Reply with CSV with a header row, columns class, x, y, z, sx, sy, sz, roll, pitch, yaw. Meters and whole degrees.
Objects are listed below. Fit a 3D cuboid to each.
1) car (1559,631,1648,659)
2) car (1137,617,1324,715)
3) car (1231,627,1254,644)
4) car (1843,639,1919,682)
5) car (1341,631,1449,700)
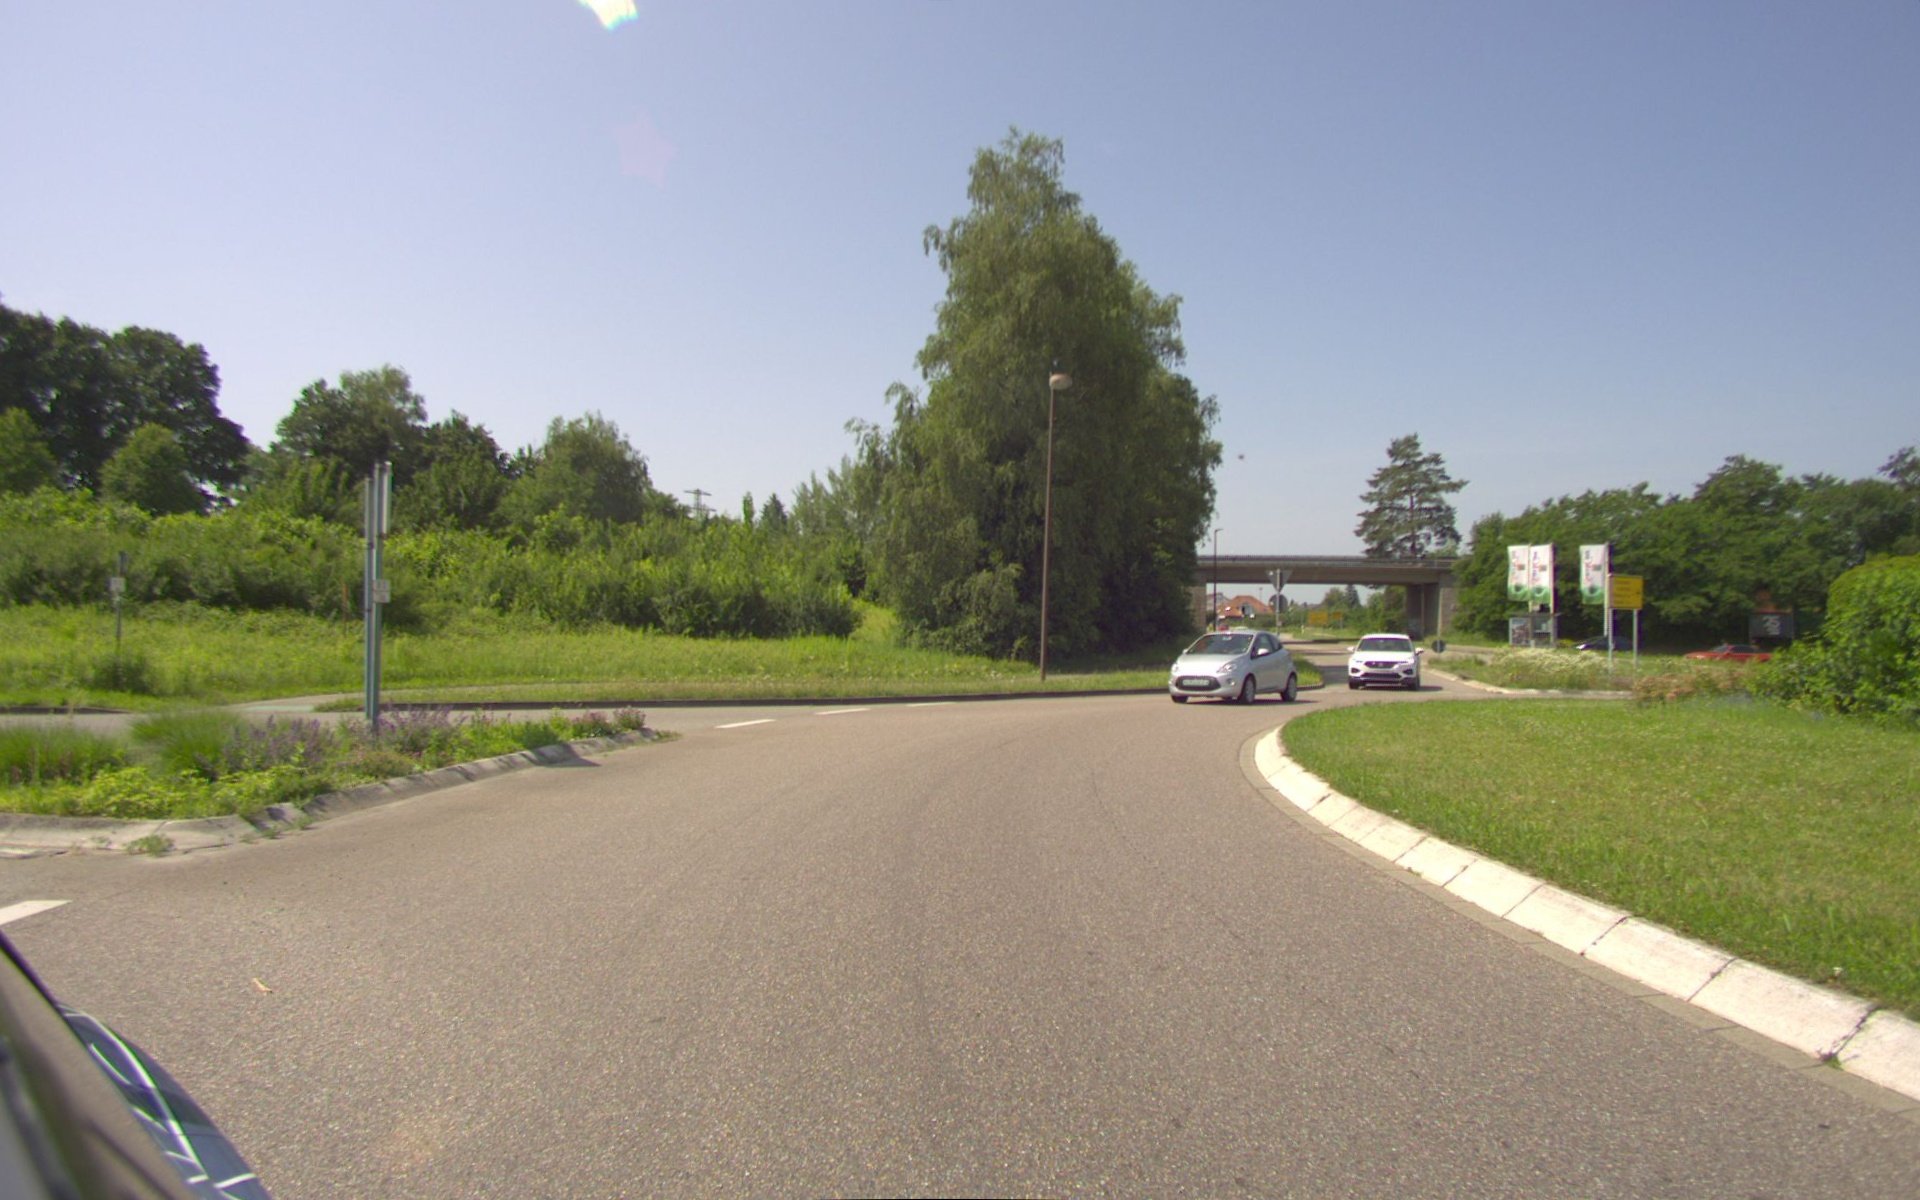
class,x,y,z,sx,sy,sz,roll,pitch,yaw
car,43.290,2.991,68.171,4.587,1.664,2.023,1,0,10
car,5.632,1.252,20.770,2.128,1.628,4.143,0,1,41
car,31.242,3.940,112.027,2.008,1.664,4.622,1,1,11
car,39.160,2.497,41.323,4.352,1.573,1.873,2,0,6
car,13.119,1.860,30.328,2.191,1.664,5.065,1,1,32
